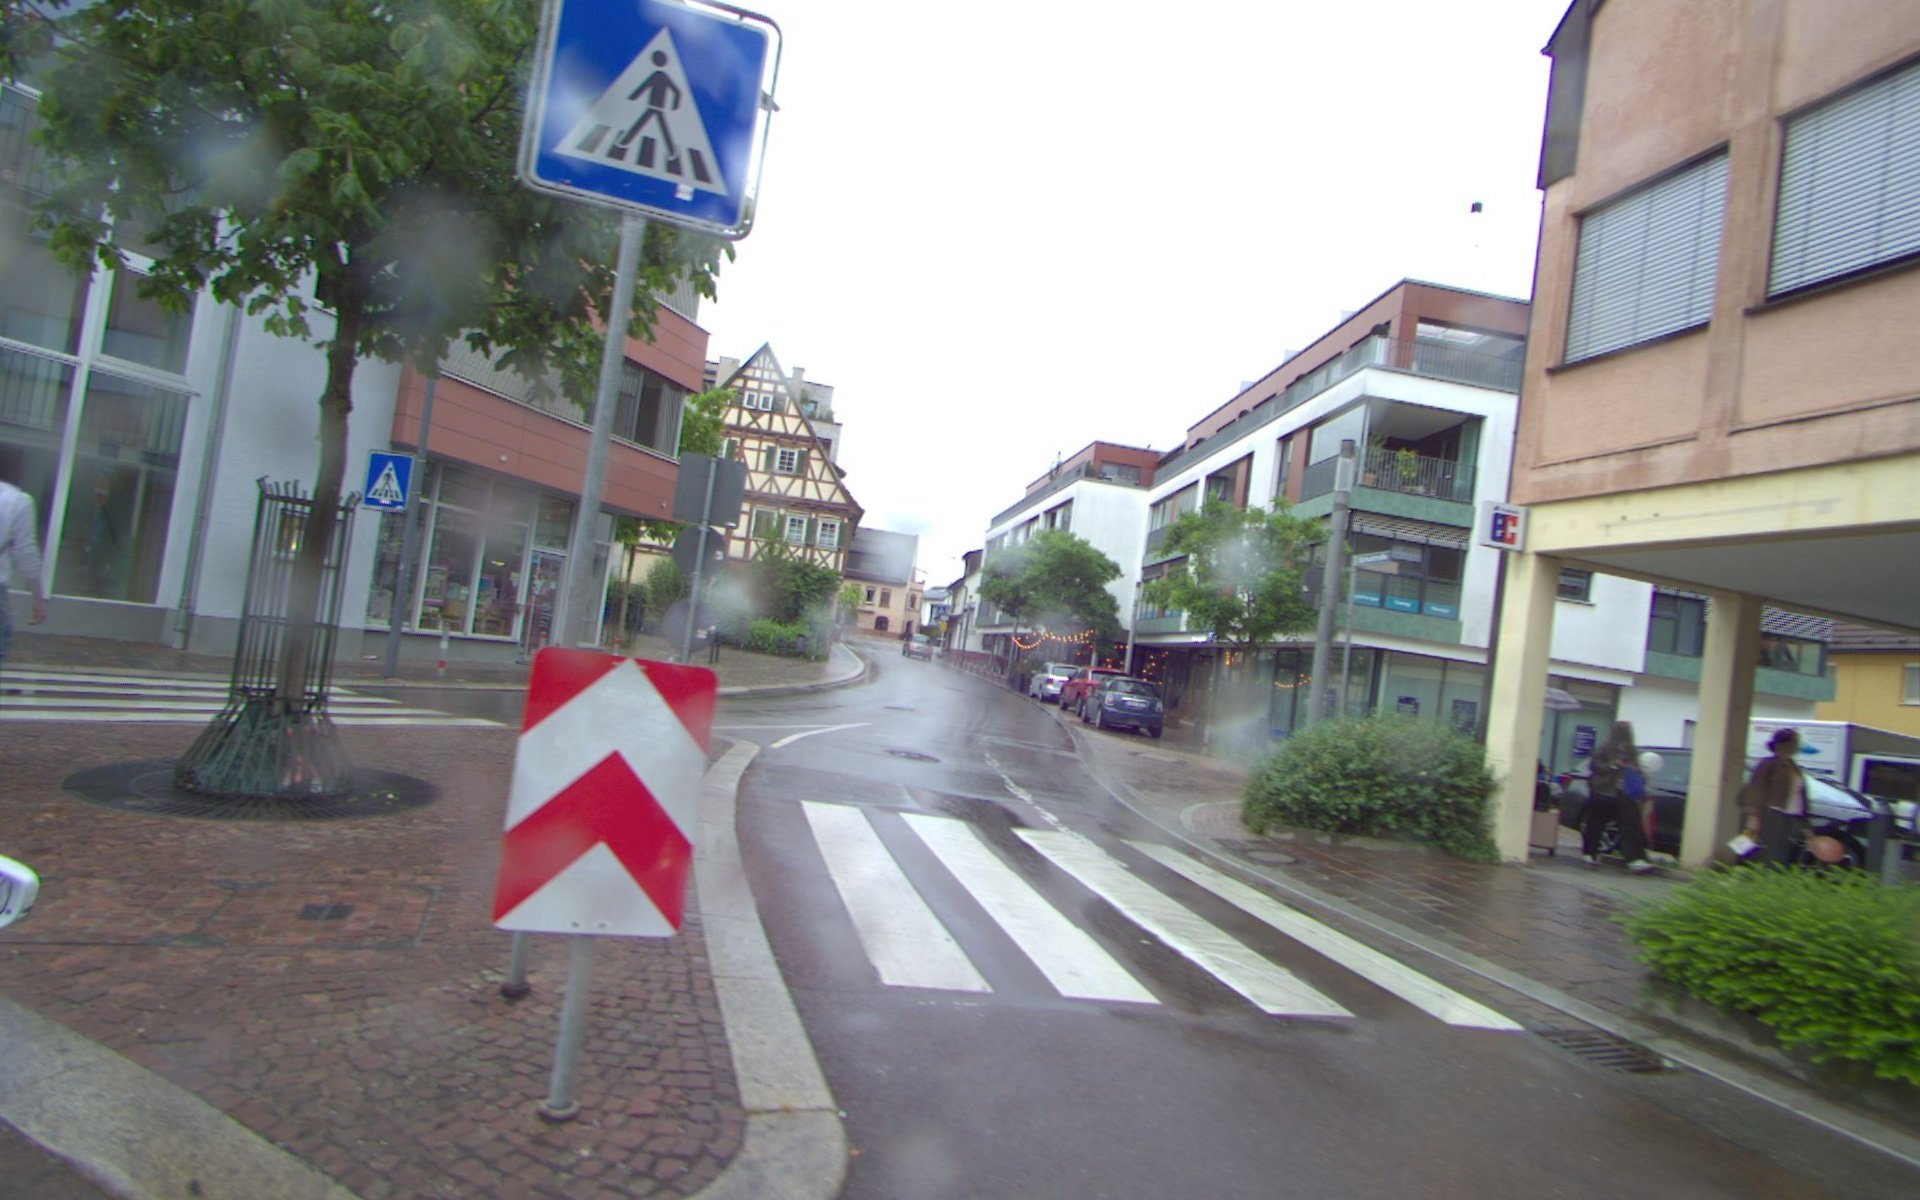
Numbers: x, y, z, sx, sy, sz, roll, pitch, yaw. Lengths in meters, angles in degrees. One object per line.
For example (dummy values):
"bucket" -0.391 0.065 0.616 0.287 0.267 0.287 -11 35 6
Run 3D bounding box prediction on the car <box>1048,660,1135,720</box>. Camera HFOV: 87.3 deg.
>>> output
"car" 4.099 2.817 31.962 1.601 1.518 3.997 5 -2 -8

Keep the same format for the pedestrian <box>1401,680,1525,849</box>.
"pedestrian" 5.827 1.880 11.687 0.724 1.768 0.891 8 -2 -13

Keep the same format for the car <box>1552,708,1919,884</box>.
"car" 9.454 2.194 11.711 1.740 1.290 4.464 8 -3 -12

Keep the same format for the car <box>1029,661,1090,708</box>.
"car" 3.665 3.110 37.607 1.591 1.430 4.001 5 -2 -3

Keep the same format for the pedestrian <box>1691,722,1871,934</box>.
"pedestrian" 7.063 1.931 8.694 0.732 1.623 0.824 6 -1 -8

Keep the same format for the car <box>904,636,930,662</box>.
"car" -2.879 3.257 66.937 1.500 1.487 3.342 8 -2 -3

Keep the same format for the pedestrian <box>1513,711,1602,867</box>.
"pedestrian" 6.967 2.189 11.746 0.533 1.682 0.520 8 -2 -10

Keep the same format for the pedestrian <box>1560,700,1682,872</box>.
"pedestrian" 7.188 2.000 10.965 0.625 1.708 0.742 8 -2 -12

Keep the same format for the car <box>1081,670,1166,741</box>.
"car" 4.288 2.755 26.825 1.513 1.378 3.372 7 0 -1

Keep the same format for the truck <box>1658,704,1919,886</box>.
"truck" 11.629 2.513 13.036 1.740 1.828 3.994 8 -3 -12

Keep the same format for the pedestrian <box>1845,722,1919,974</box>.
"pedestrian" 6.942 1.772 7.084 0.692 1.680 0.813 8 -2 -35

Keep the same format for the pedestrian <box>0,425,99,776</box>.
"pedestrian" -5.370 -0.013 5.392 0.657 1.827 1.056 8 -2 -23
